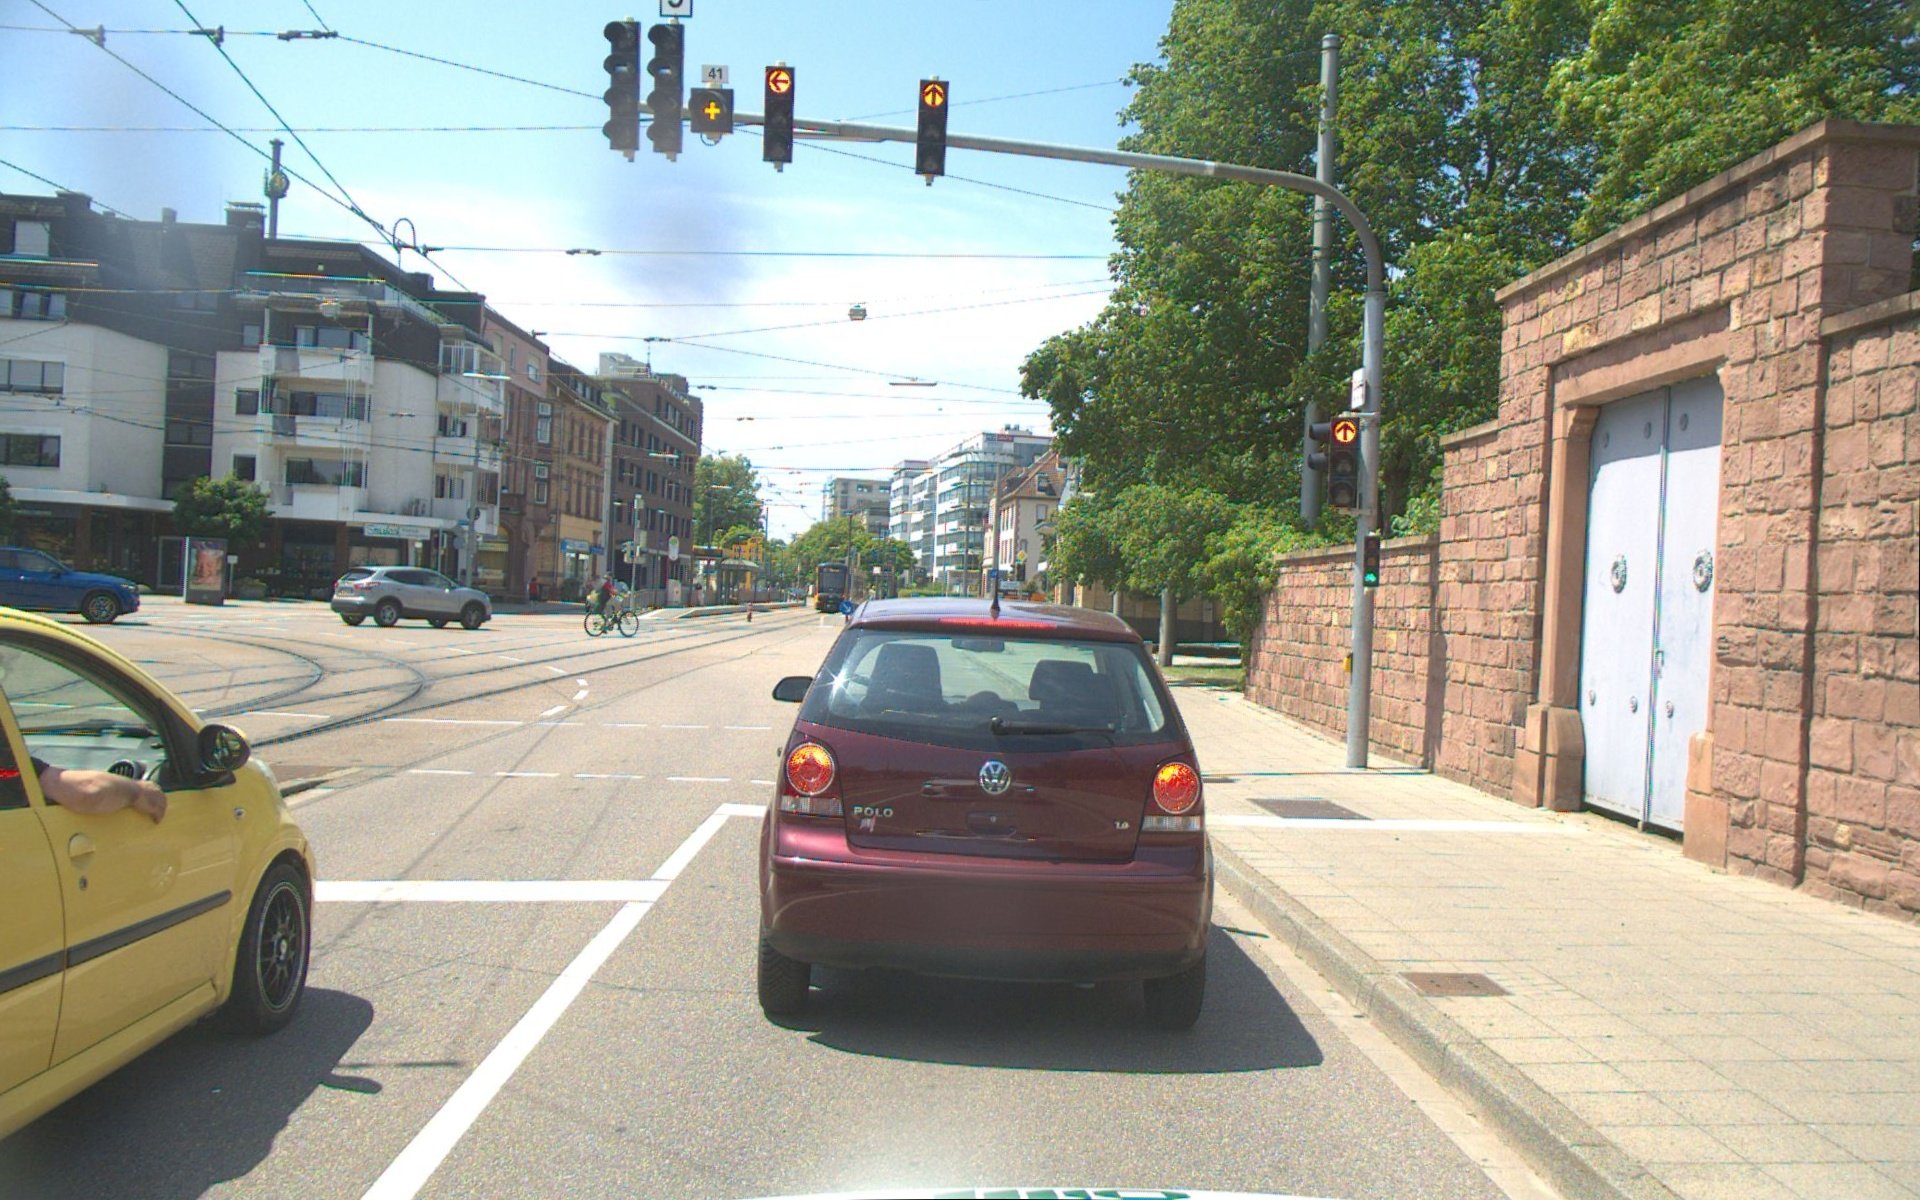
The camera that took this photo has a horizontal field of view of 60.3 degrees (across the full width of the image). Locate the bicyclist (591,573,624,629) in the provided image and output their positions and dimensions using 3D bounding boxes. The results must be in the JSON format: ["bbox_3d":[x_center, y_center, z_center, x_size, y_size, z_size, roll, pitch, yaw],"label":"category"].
[{"bbox_3d":[-9.788,0.022,45.910,0.745,1.527,0.475,2,-1,-41],"label":"bicyclist"}]

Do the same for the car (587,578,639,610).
[{"bbox_3d":[-17.031,-0.289,81.368,1.654,1.488,4.000,2,0,0],"label":"car"}]

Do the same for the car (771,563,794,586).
[{"bbox_3d":[-16.391,-2.376,153.144,1.700,2.049,3.999,2,0,-1],"label":"car"}]

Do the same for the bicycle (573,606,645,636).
[{"bbox_3d":[-9.748,0.580,45.959,1.969,0.797,0.459,2,-1,-41],"label":"bicycle"}]

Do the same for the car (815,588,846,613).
[{"bbox_3d":[-9.043,0.070,115.849,1.899,1.670,3.998,1,-1,-2],"label":"car"}]

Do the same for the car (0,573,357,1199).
[{"bbox_3d":[-2.956,0.665,4.223,1.688,1.470,3.292,0,1,-2],"label":"car"}]

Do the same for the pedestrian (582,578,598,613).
[{"bbox_3d":[-19.784,-0.231,88.470,0.648,1.818,0.815,2,0,-1],"label":"pedestrian"}]

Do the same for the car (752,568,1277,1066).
[{"bbox_3d":[0.100,0.671,7.176,1.578,1.489,4.083,2,0,-2],"label":"car"}]

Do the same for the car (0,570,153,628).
[{"bbox_3d":[-21.259,-0.033,38.045,4.720,1.258,1.919,1,-1,-31],"label":"car"}]

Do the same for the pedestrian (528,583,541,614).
[{"bbox_3d":[-21.420,-0.084,83.234,0.474,1.568,0.538,1,-1,-3],"label":"pedestrian"}]

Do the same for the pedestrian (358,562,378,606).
[{"bbox_3d":[-24.602,-0.664,68.782,0.497,1.785,0.606,0,-1,45],"label":"pedestrian"}]

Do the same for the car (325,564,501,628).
[{"bbox_3d":[-14.682,-0.088,44.542,1.902,1.612,4.132,0,-1,38],"label":"car"}]
